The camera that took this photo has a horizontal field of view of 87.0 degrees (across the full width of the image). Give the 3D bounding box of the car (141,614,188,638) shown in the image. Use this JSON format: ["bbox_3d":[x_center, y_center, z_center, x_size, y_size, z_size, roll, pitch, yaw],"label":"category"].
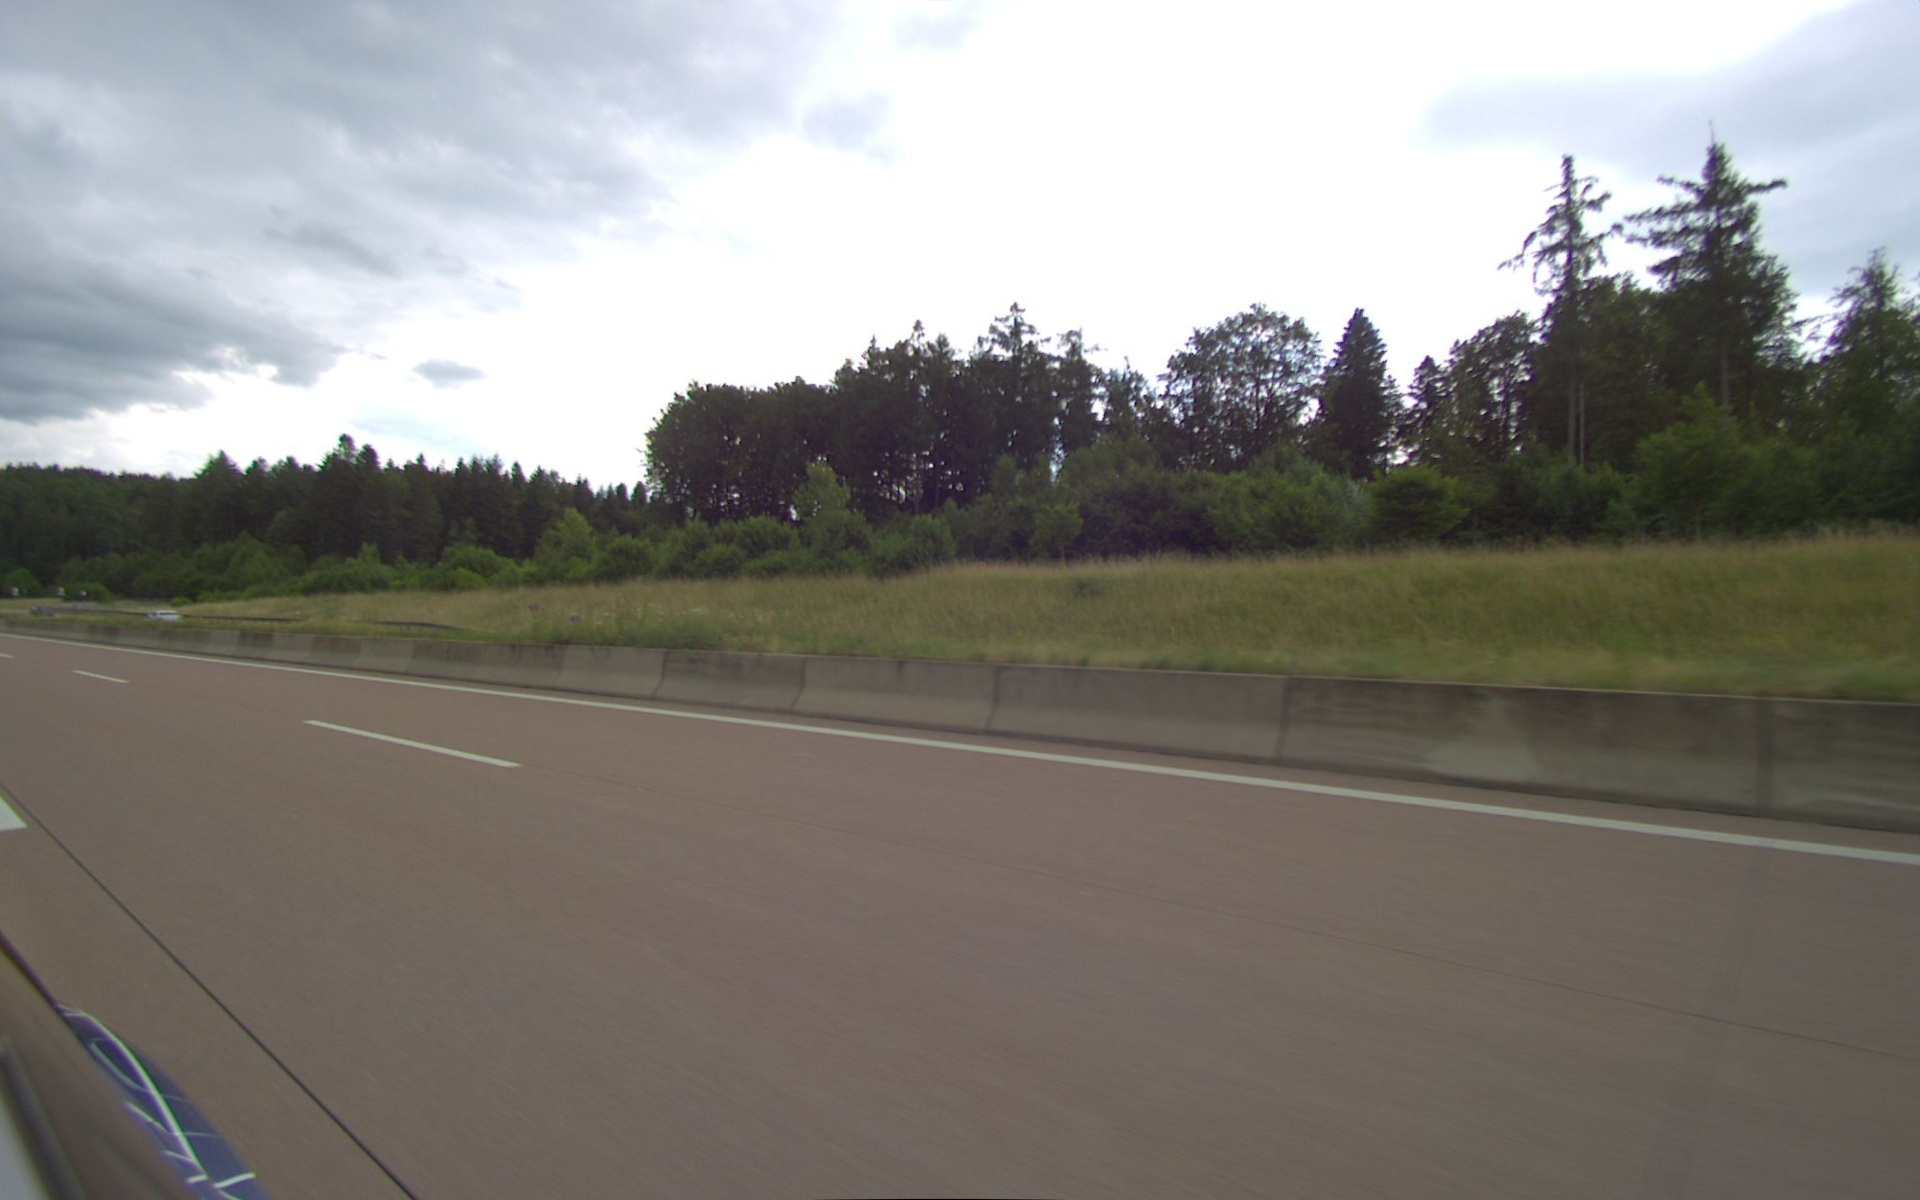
[{"bbox_3d":[-57.135,1.840,72.647,4.821,1.536,1.654,2,1,39],"label":"car"}]

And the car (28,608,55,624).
[{"bbox_3d":[-104.514,1.821,115.122,4.377,1.650,1.745,2,1,40],"label":"car"}]
